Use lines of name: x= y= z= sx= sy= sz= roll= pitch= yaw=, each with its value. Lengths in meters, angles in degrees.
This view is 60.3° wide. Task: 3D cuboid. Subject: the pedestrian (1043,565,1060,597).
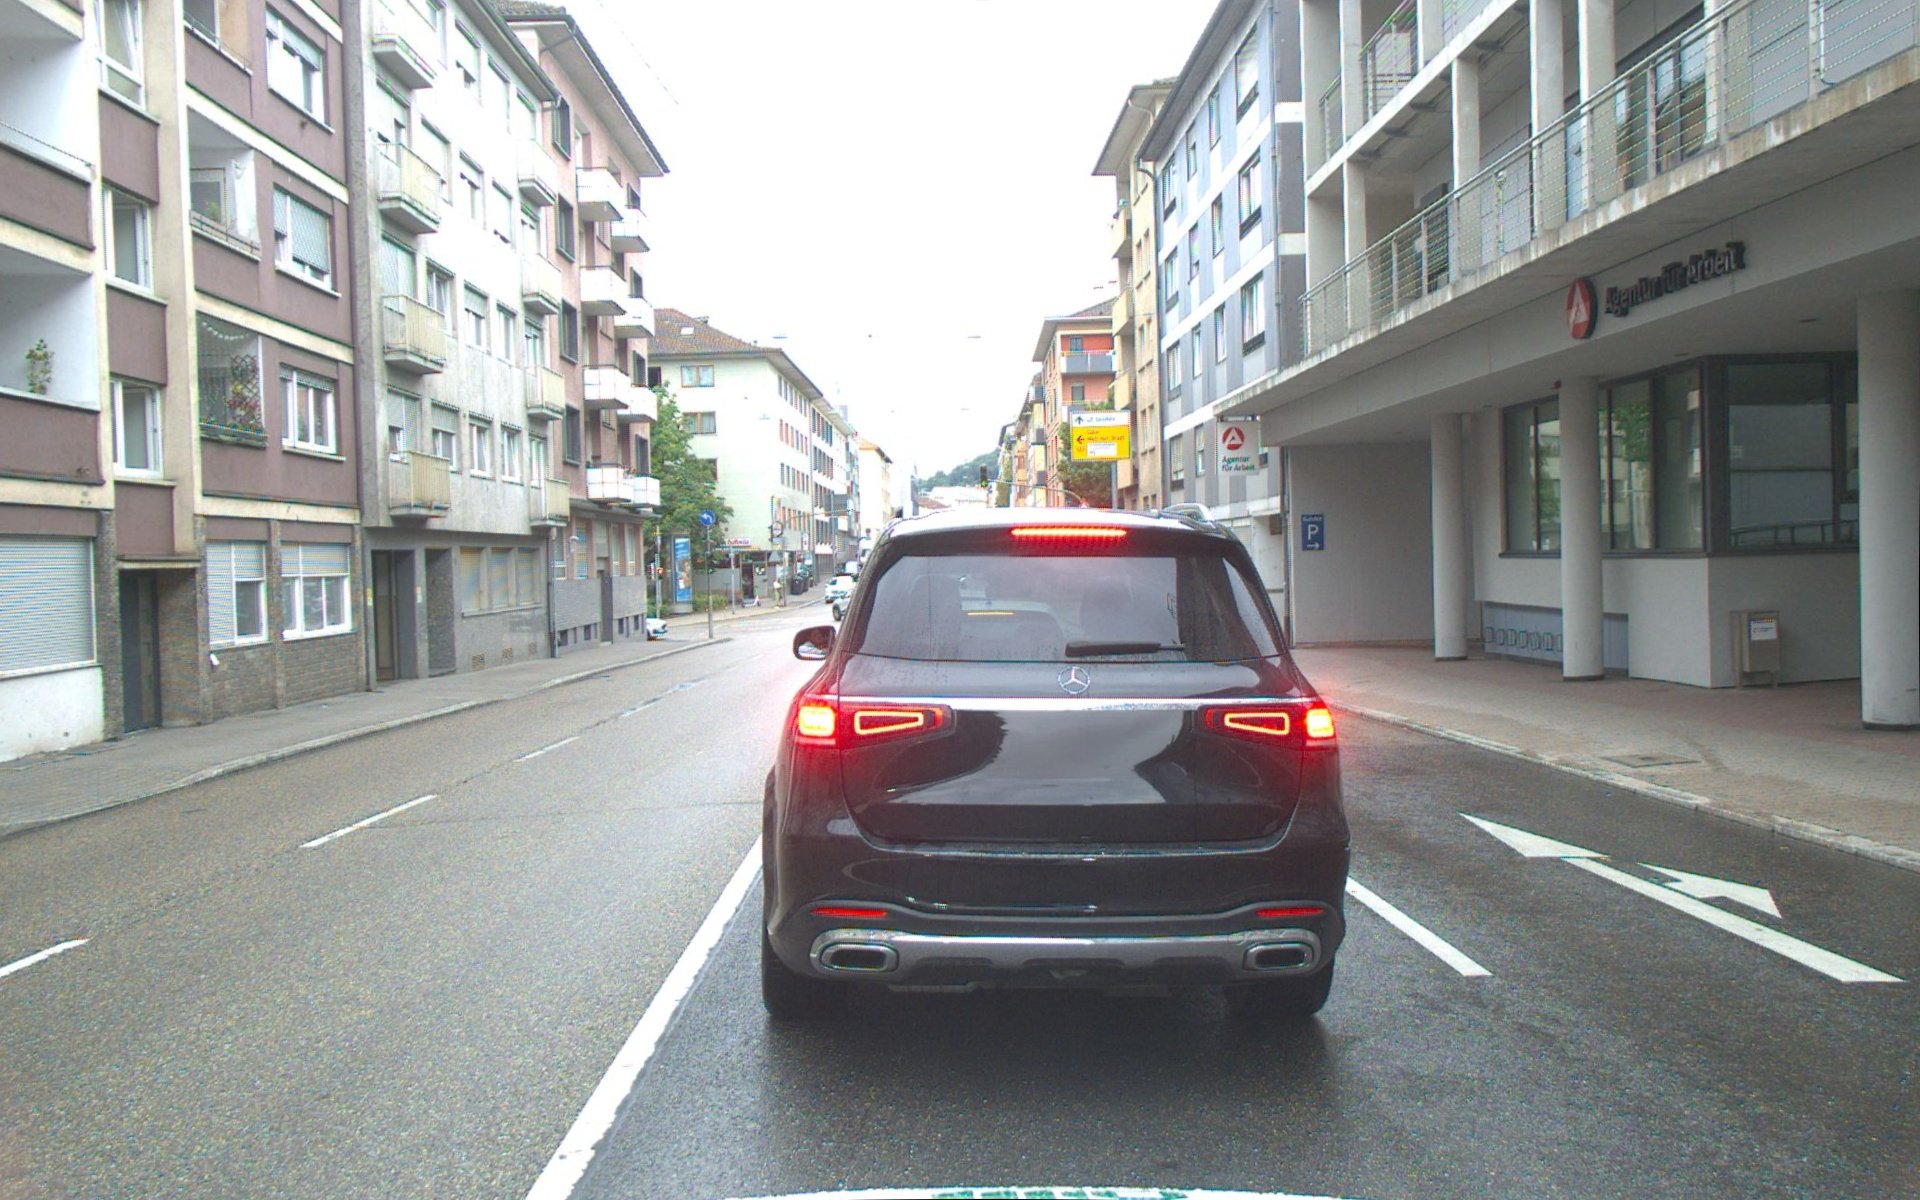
pedestrian: x=5.353 y=-1.120 z=96.828 sx=0.904 sy=1.836 sz=0.706 roll=-2 pitch=0 yaw=-3

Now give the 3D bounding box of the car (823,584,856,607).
car: x=-7.368 y=-0.250 z=101.058 sx=1.848 sy=1.286 sz=4.215 roll=-3 pitch=0 yaw=-3

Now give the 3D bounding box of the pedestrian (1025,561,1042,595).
pedestrian: x=4.517 y=-1.339 z=101.880 sx=0.904 sy=2.049 sz=0.706 roll=-2 pitch=0 yaw=-3

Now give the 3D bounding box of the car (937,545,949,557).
car: x=-2.542 y=-7.517 z=252.456 sx=1.586 sy=1.566 sz=4.215 roll=-3 pitch=0 yaw=-3

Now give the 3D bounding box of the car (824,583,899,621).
car: x=-4.560 y=0.098 z=76.062 sx=1.603 sy=1.566 sz=4.171 roll=-3 pitch=0 yaw=-32

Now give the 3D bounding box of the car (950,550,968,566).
car: x=-0.083 y=-4.364 z=171.261 sx=1.586 sy=1.411 sz=4.215 roll=-3 pitch=0 yaw=-3

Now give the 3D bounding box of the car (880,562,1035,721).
car: x=-0.131 y=0.482 z=20.832 sx=1.716 sy=1.762 sz=4.215 roll=-1 pitch=0 yaw=-3

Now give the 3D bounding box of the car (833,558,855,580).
car: x=-9.202 y=-2.461 z=131.496 sx=1.586 sy=1.566 sz=4.215 roll=-3 pitch=0 yaw=-3

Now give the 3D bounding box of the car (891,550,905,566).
car: x=-7.269 y=-4.910 z=193.611 sx=1.586 sy=1.566 sz=4.215 roll=-3 pitch=0 yaw=-3

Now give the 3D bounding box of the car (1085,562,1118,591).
car: x=8.100 y=-1.347 z=94.759 sx=1.636 sy=1.616 sz=3.331 roll=-2 pitch=1 yaw=1

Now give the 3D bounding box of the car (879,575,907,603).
car: x=-4.121 y=-0.630 z=101.175 sx=1.586 sy=1.566 sz=4.215 roll=-3 pitch=0 yaw=-3

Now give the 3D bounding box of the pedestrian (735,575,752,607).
pedestrian: x=-13.296 y=-0.535 z=101.671 sx=0.904 sy=1.935 sz=0.706 roll=-2 pitch=0 yaw=-3

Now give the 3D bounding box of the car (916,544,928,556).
car: x=-5.804 y=-7.535 z=250.115 sx=1.586 sy=1.566 sz=4.215 roll=-3 pitch=0 yaw=-3

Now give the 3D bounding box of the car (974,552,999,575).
car: x=2.136 y=-2.953 z=135.305 sx=1.689 sy=1.790 sz=4.215 roll=-3 pitch=1 yaw=-3

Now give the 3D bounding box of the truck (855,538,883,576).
truck: x=-8.590 y=-4.025 z=156.948 sx=2.430 sy=3.099 sz=9.914 roll=-3 pitch=0 yaw=-3

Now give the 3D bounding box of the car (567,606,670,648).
car: x=-14.935 y=1.176 z=72.532 sx=4.267 sy=1.566 sz=1.773 roll=-3 pitch=0 yaw=-11

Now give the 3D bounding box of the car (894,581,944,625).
car: x=-1.585 y=0.123 z=65.035 sx=1.778 sy=1.566 sz=4.218 roll=-3 pitch=0 yaw=0

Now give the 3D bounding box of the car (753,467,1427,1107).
car: x=0.355 y=0.558 z=7.024 sx=1.944 sy=1.836 sz=4.389 roll=1 pitch=0 yaw=-1
